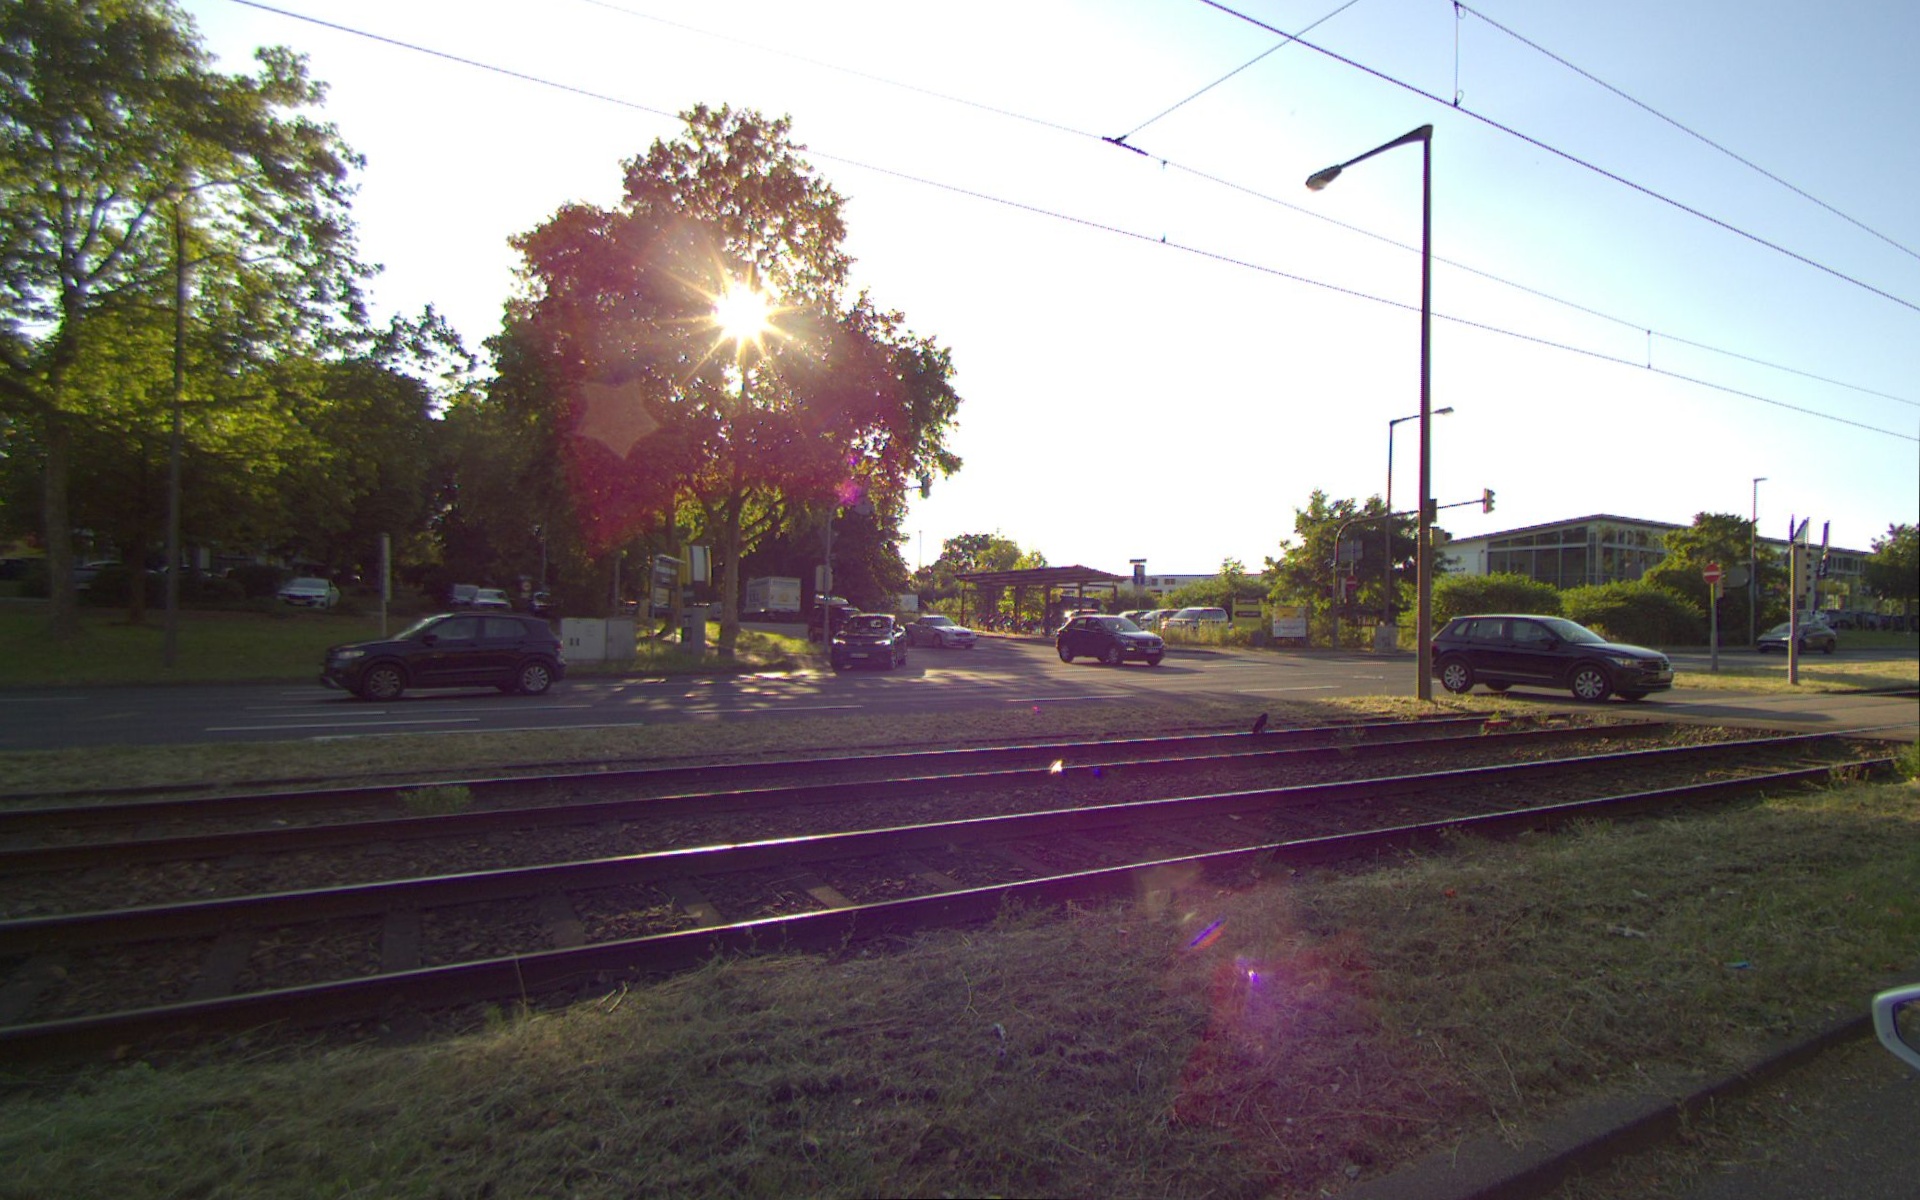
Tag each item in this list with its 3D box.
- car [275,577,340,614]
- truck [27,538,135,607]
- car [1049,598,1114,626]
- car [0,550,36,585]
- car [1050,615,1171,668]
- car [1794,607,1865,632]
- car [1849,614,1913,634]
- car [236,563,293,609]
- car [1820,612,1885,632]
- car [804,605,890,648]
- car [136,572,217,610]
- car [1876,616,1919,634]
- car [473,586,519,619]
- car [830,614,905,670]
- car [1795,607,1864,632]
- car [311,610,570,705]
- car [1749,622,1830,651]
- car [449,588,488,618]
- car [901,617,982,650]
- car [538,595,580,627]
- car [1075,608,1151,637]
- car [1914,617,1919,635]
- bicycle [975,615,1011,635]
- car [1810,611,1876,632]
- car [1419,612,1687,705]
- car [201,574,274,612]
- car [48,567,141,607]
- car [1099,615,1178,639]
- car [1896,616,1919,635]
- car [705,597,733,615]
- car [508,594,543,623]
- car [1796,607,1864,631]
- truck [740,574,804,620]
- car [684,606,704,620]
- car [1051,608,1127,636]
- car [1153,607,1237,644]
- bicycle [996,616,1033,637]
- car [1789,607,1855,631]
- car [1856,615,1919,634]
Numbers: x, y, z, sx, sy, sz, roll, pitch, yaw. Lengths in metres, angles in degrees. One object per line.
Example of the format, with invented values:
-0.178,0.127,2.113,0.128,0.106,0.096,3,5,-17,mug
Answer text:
-29.437,-0.210,45.433,1.916,1.530,4.071,2,0,-26,car
-44.518,-1.329,51.059,2.468,3.209,6.187,2,0,-26,truck
9.282,0.934,76.661,4.715,2.041,1.853,1,0,-30,car
-53.865,-1.868,56.376,2.274,1.875,5.220,2,0,-36,car
4.783,1.286,32.451,1.692,1.581,4.133,1,-1,-30,car
65.174,1.433,75.369,3.940,1.727,1.735,1,0,40,car
79.608,2.054,86.890,3.940,1.577,1.735,1,0,40,car
-37.302,-0.740,54.002,2.138,2.334,4.369,2,0,-31,car
74.203,1.832,83.609,3.940,1.577,1.735,1,0,40,car
-4.792,1.069,42.058,1.824,1.656,4.270,1,0,-34,car
-33.961,-0.383,43.679,1.916,1.530,4.071,2,0,-26,car
84.906,2.263,90.001,1.726,1.576,3.960,1,0,-35,car
-22.940,0.118,49.583,1.916,1.530,4.071,2,0,-26,car
-2.746,1.262,30.725,1.702,1.565,4.335,1,-1,2,car
66.720,1.483,77.168,3.940,1.727,1.735,1,0,40,car
-9.557,1.009,18.672,3.946,1.578,1.734,2,-2,-44,car
45.070,1.978,54.565,4.116,1.501,1.856,1,0,-26,car
-28.578,0.135,58.489,1.836,1.637,4.036,2,0,-23,car
-0.824,1.399,42.339,1.597,1.311,3.947,1,-1,-33,car
-20.445,0.529,51.133,1.604,1.477,3.878,2,0,-27,car
8.815,1.283,57.795,4.123,1.604,1.853,1,0,-30,car
91.292,2.489,93.020,1.725,1.642,3.962,1,0,-34,car
1.923,1.453,59.045,2.004,1.119,0.777,2,0,-30,bicycle
71.983,1.737,81.942,3.940,1.577,1.735,1,0,40,car
11.833,1.117,20.360,1.857,1.656,4.334,1,-2,-31,car
-32.119,-0.311,44.751,1.916,1.530,4.071,2,0,-26,car
-36.093,-0.545,42.015,1.916,1.530,4.071,2,0,-26,car
9.934,1.486,55.864,4.123,1.284,1.853,1,0,-30,car
88.377,2.373,91.741,1.725,1.642,3.962,1,0,-34,car
-22.830,0.536,94.981,1.711,1.603,4.028,1,0,-27,car
-26.243,0.511,60.723,1.836,1.637,4.036,2,0,-23,car
68.358,1.481,78.980,3.940,1.840,1.735,1,0,40,car
-15.053,-0.252,79.785,2.782,3.520,8.291,1,0,-27,truck
-33.259,1.579,125.401,1.887,1.602,4.036,2,0,-21,car
7.711,1.290,59.990,4.123,1.604,1.968,1,0,-30,car
12.357,1.325,52.732,4.123,1.846,1.853,1,0,-30,car
3.064,1.475,56.409,2.004,1.119,0.777,2,0,-30,bicycle
69.320,1.498,80.826,3.940,1.840,1.735,1,0,40,car
81.761,2.141,88.508,1.728,1.576,3.957,1,0,-37,car
